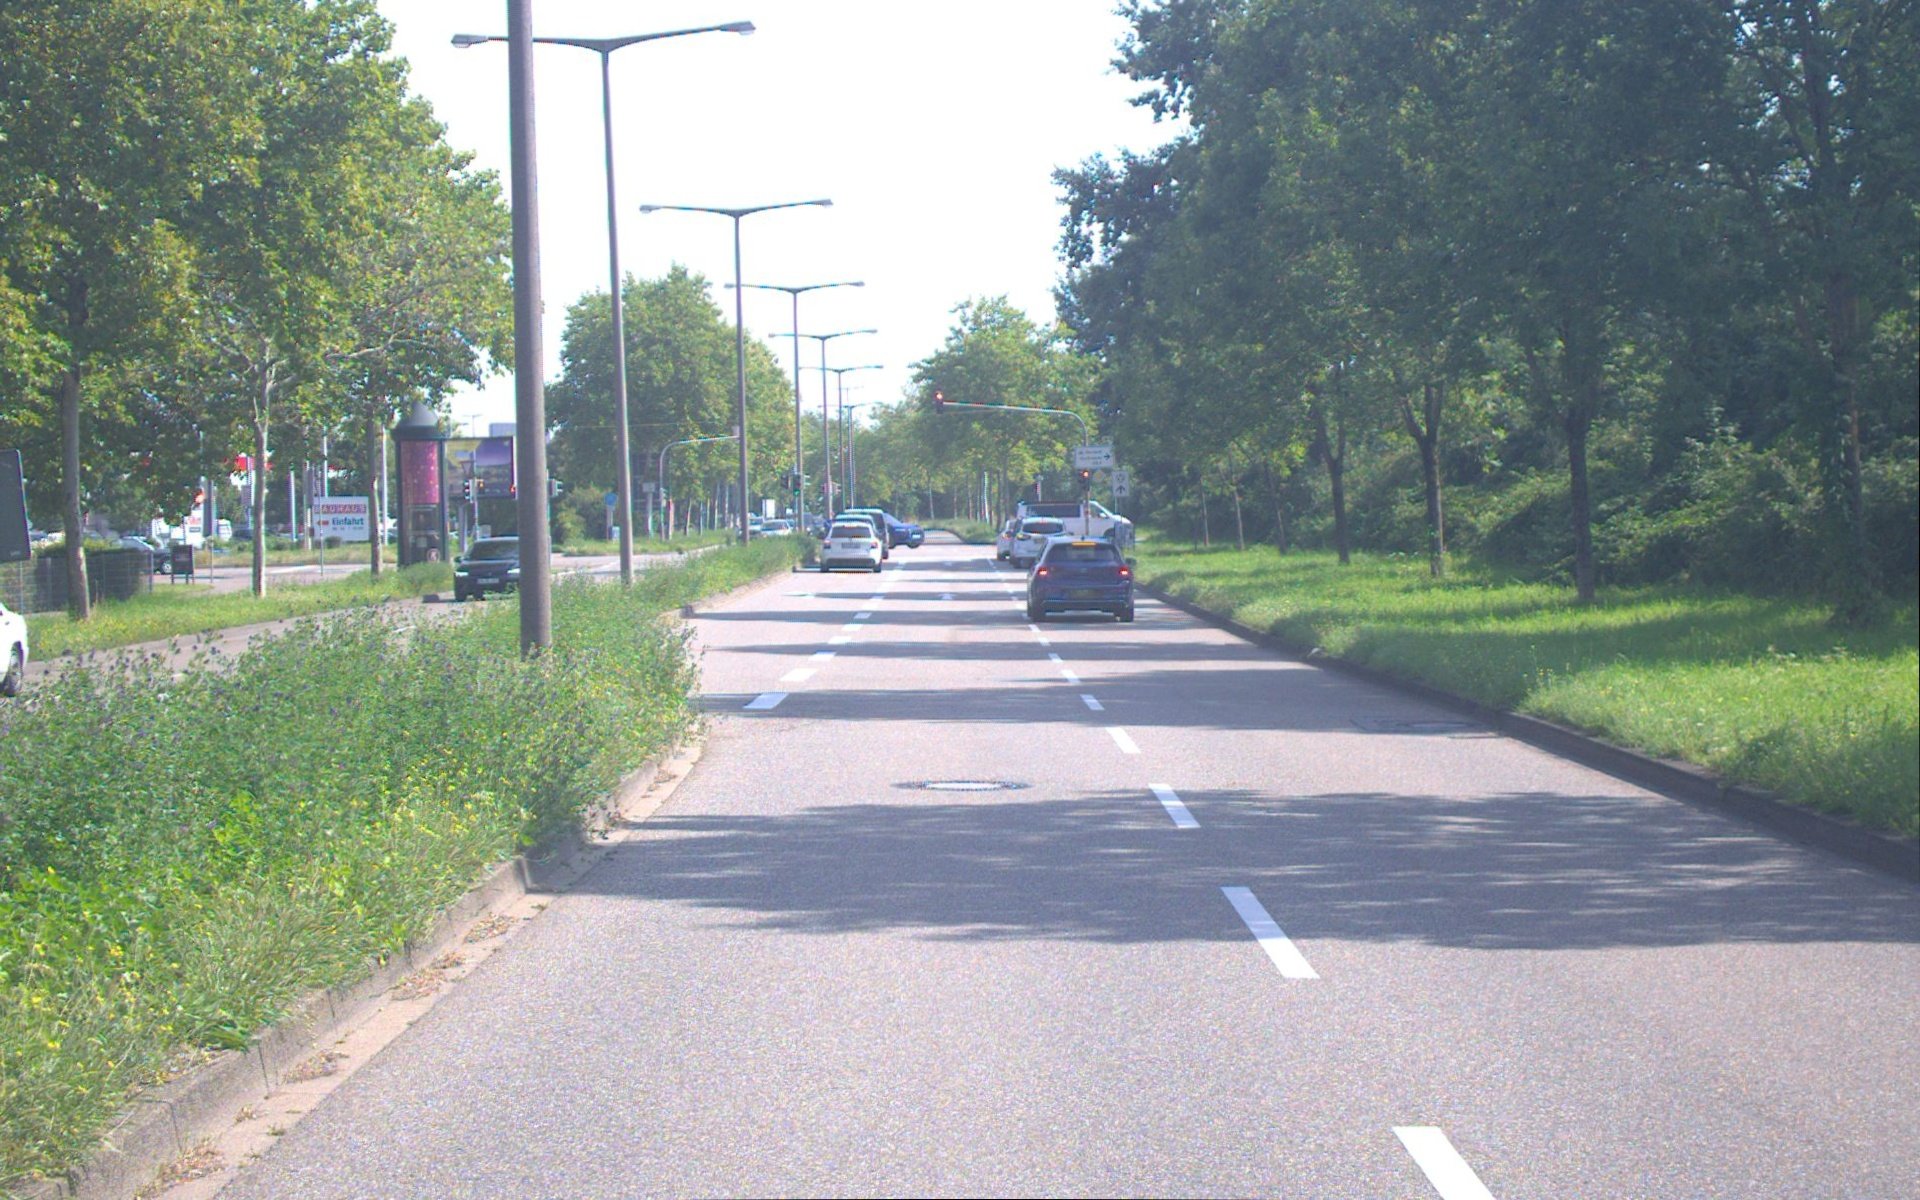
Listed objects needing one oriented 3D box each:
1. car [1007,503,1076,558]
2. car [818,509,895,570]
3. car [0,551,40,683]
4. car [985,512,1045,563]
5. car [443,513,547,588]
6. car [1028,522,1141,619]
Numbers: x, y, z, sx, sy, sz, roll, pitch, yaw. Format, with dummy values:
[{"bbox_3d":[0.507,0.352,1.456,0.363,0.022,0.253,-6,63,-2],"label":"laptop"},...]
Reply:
[{"bbox_3d":[2.552,-2.187,108.569,1.993,1.648,4.000,-2,1,0],"label":"car"},{"bbox_3d":[-2.999,-1.757,100.328,1.993,1.696,4.000,-2,1,1],"label":"car"},{"bbox_3d":[-11.189,0.237,36.363,1.795,1.412,4.411,-3,1,-2],"label":"car"},{"bbox_3d":[1.939,-2.233,122.113,1.993,1.648,4.001,0,3,-1],"label":"car"},{"bbox_3d":[-11.100,-1.200,82.273,1.993,1.556,4.001,1,4,-1],"label":"car"},{"bbox_3d":[2.116,-0.539,59.222,1.780,1.422,4.001,1,4,0],"label":"car"}]
